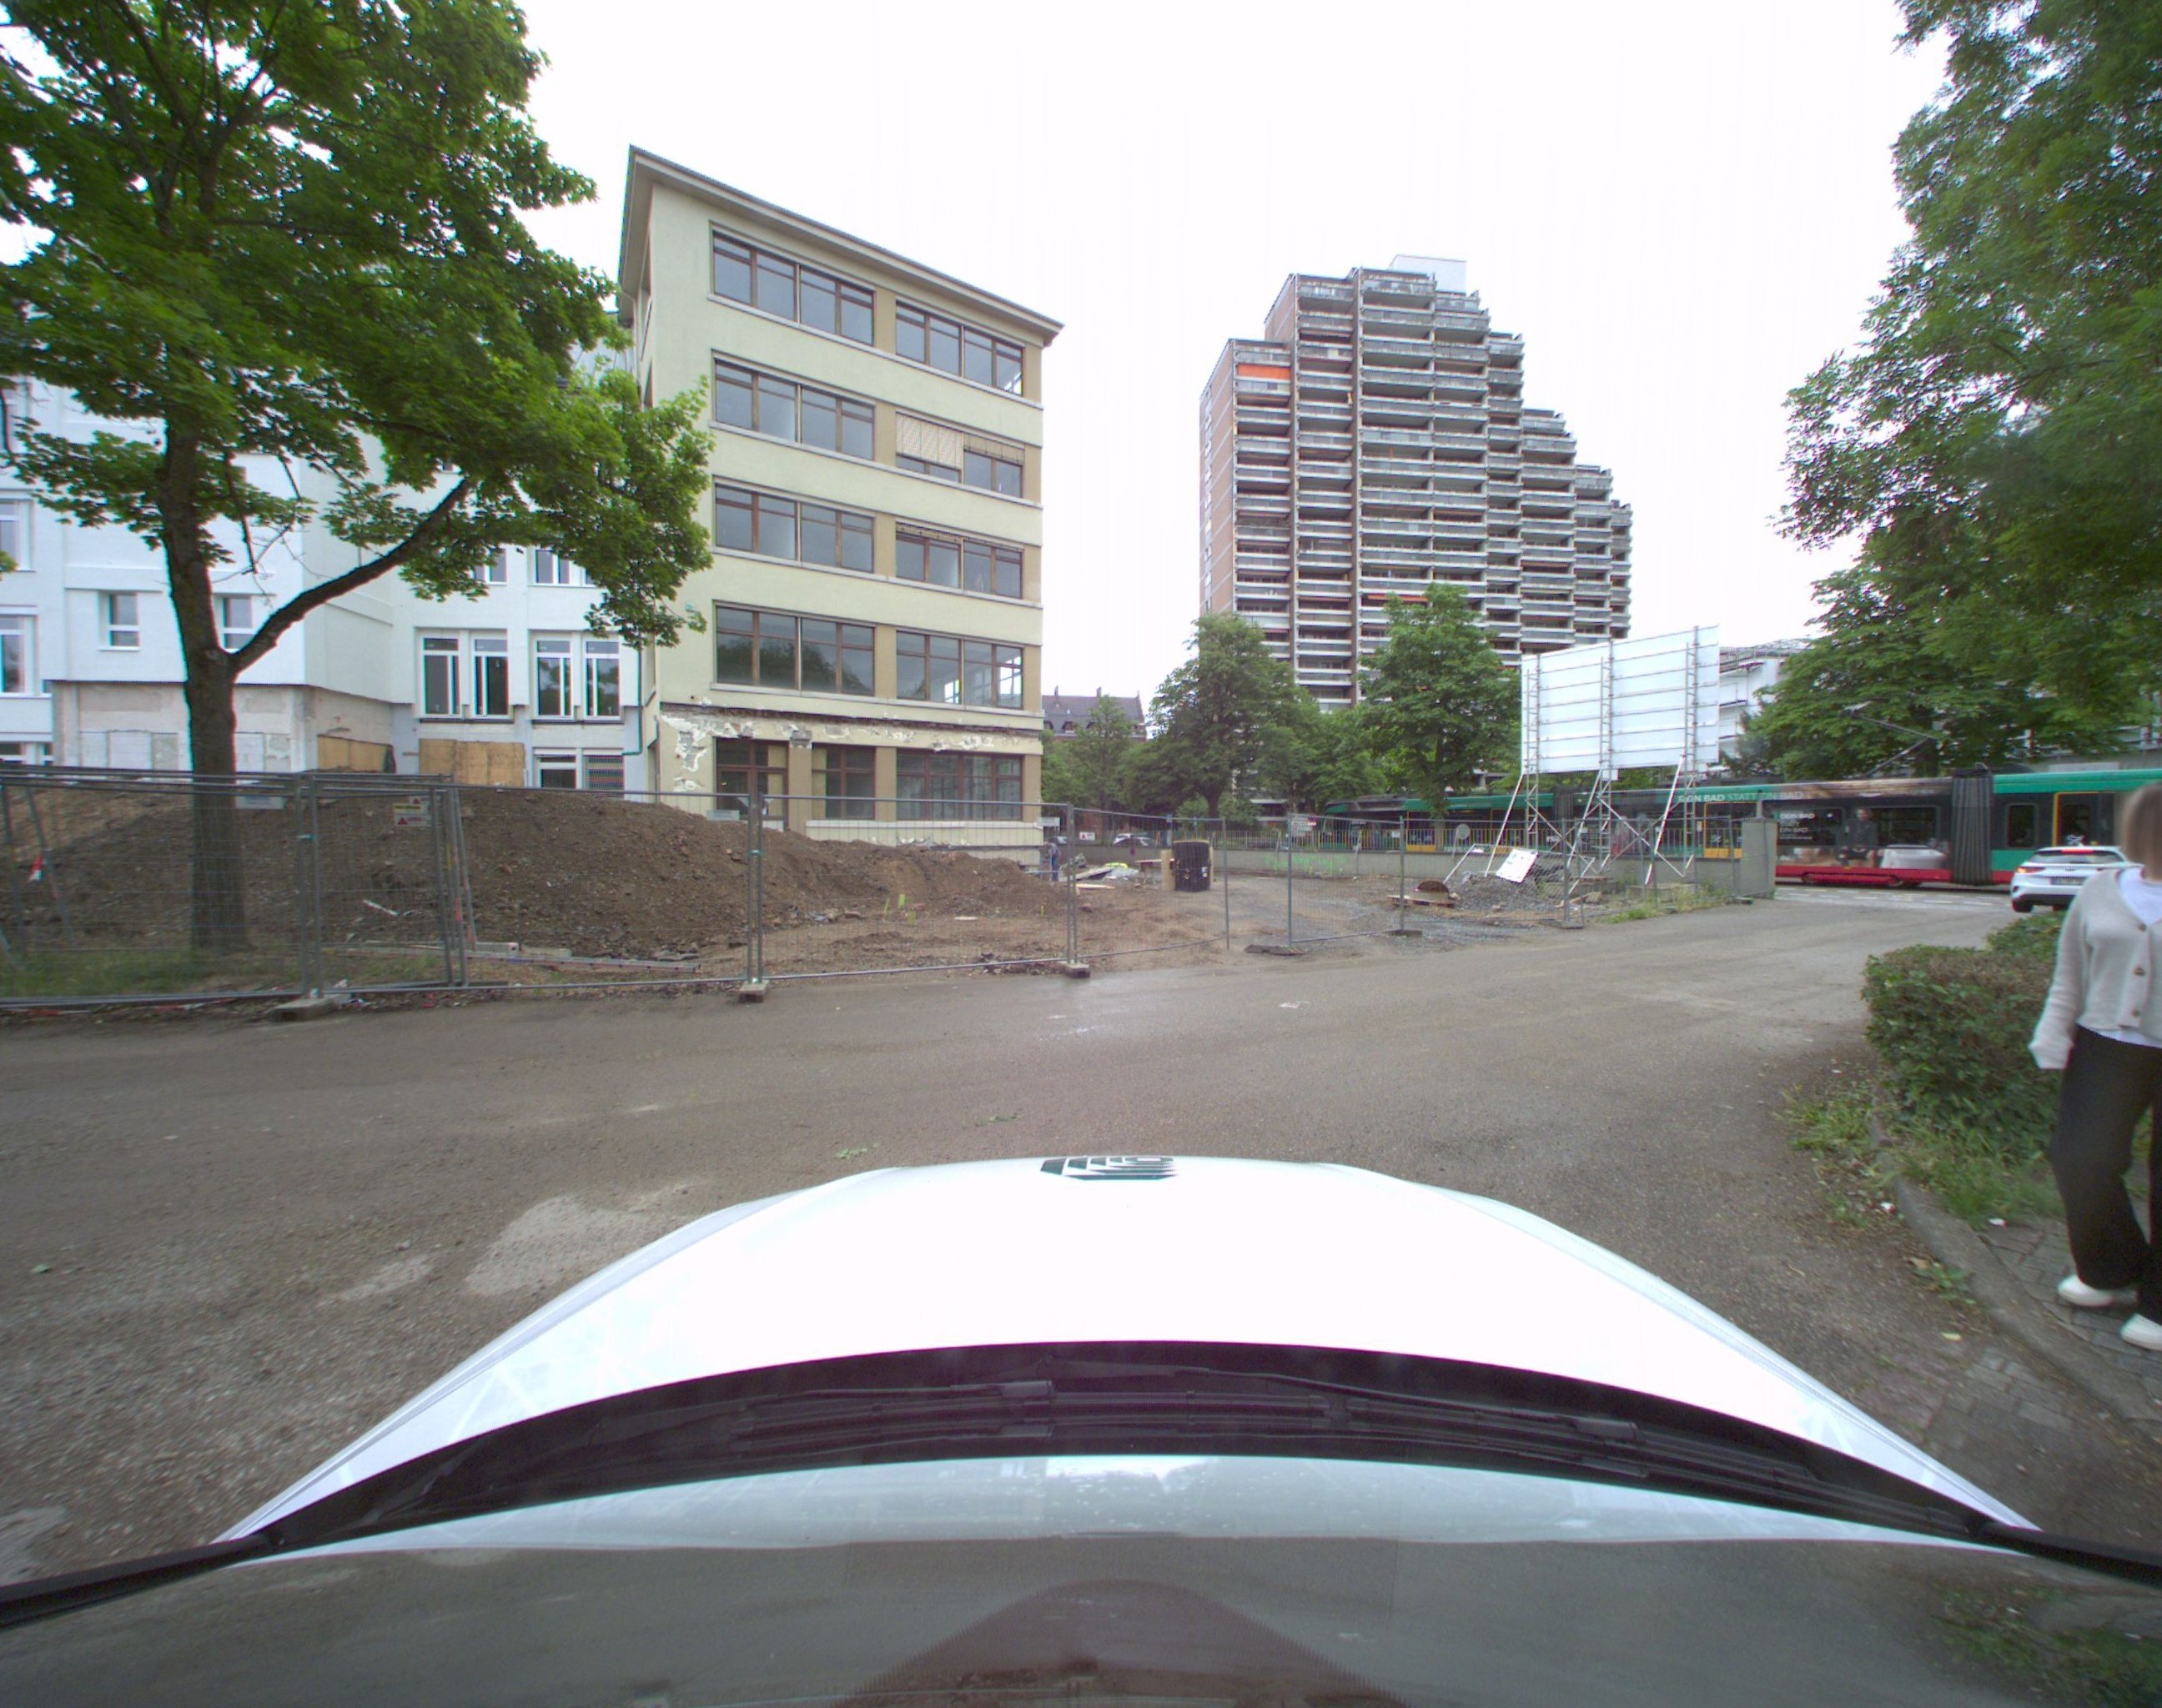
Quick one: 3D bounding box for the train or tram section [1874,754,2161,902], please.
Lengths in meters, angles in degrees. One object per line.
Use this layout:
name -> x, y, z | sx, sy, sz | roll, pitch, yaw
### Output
train or tram section -> 28.809, -0.619, 18.947 | 2.678, 3.614, 14.621 | -1, 1, -32

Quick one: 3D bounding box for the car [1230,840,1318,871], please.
car -> 9.295, 0.031, 39.478 | 1.840, 1.418, 3.959 | -1, 1, -33

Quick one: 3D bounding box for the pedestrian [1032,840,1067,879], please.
pedestrian -> -1.191, 0.189, 31.011 | 0.987, 1.437, 0.920 | 0, 1, -37

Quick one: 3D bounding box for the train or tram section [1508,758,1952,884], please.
train or tram section -> 22.155, -1.054, 29.356 | 2.678, 3.614, 12.331 | -1, 1, -32

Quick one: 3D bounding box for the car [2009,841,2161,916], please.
car -> 21.636, 0.522, 17.234 | 3.988, 1.432, 1.765 | 2, -1, -28

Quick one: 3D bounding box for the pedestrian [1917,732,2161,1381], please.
pedestrian -> 3.176, 0.552, 2.487 | 0.742, 1.781, 0.667 | 0, 1, 34

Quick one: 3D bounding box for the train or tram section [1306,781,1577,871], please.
train or tram section -> 16.304, -1.219, 38.531 | 2.678, 3.614, 12.331 | -1, 1, -32
